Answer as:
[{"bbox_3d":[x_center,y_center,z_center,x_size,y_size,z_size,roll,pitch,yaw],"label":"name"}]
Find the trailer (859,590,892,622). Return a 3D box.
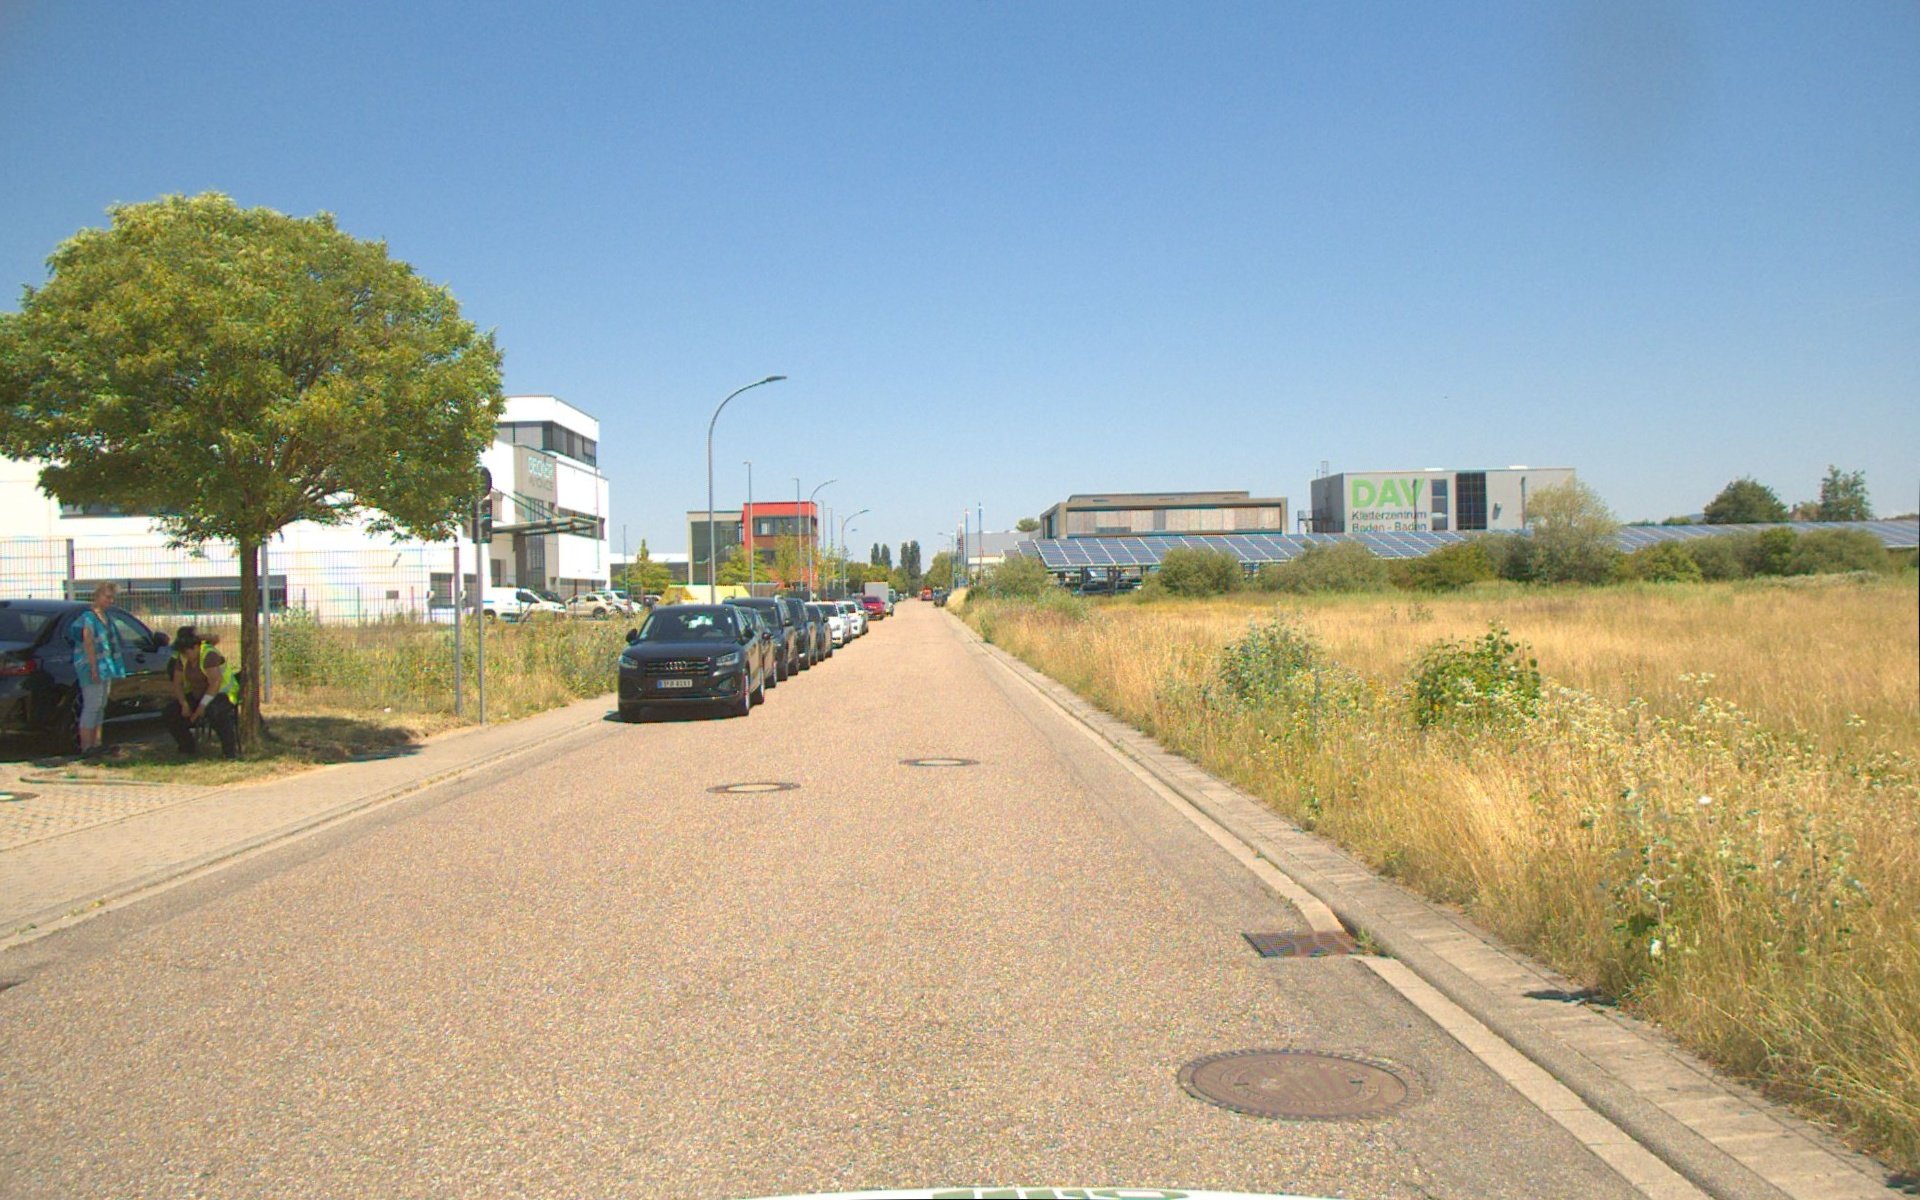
[{"bbox_3d":[-5.998,0.411,117.574,2.156,2.175,4.284,-2,0,-2],"label":"trailer"}]

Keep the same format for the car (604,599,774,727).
[{"bbox_3d":[-3.790,0.828,23.836,1.888,1.594,4.188,-2,0,-3],"label":"car"}]

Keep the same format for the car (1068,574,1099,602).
[{"bbox_3d":[9.358,-0.919,125.621,1.953,2.049,3.999,-2,0,-2],"label":"car"}]

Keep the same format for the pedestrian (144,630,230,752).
[{"bbox_3d":[-8.018,0.929,17.168,0.495,1.212,0.753,1,0,1],"label":"pedestrian"}]

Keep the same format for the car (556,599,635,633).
[{"bbox_3d":[-22.820,0.973,103.735,4.436,1.977,2.031,-2,0,-1],"label":"car"}]

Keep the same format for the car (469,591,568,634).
[{"bbox_3d":[-22.330,0.612,83.729,4.436,1.977,2.031,-2,0,-1],"label":"car"}]

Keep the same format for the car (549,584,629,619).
[{"bbox_3d":[-22.694,0.080,101.274,4.436,1.977,2.031,-2,0,-1],"label":"car"}]

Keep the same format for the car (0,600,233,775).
[{"bbox_3d":[-9.376,0.776,16.993,1.888,1.490,4.690,1,0,-3],"label":"car"}]

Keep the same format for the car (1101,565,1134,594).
[{"bbox_3d":[11.924,-1.549,125.616,1.953,2.049,3.999,-2,0,-2],"label":"car"}]

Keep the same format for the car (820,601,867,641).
[{"bbox_3d":[-4.799,0.846,68.565,1.751,1.547,3.981,-2,0,-2],"label":"car"}]

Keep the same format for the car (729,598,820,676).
[{"bbox_3d":[-4.401,0.838,39.730,1.733,1.692,4.551,-2,0,-1],"label":"car"}]

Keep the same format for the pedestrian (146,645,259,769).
[{"bbox_3d":[-7.165,1.002,15.664,0.735,1.118,0.646,1,0,2],"label":"pedestrian"}]

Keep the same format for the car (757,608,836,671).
[{"bbox_3d":[-4.443,1.042,45.581,1.733,1.511,5.013,-2,0,-1],"label":"car"}]

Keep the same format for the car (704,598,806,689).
[{"bbox_3d":[-4.196,0.844,34.442,1.643,1.692,4.235,-2,0,-1],"label":"car"}]

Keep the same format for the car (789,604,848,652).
[{"bbox_3d":[-4.850,0.939,57.120,1.751,1.547,3.981,-1,0,-2],"label":"car"}]

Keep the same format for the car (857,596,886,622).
[{"bbox_3d":[-5.659,0.569,106.149,1.751,1.547,3.981,-2,0,-2],"label":"car"}]

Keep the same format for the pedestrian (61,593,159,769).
[{"bbox_3d":[-8.071,0.750,15.727,0.495,1.623,0.753,1,0,1],"label":"pedestrian"}]

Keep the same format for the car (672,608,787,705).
[{"bbox_3d":[-4.027,0.942,29.374,1.558,1.518,3.832,-2,0,-1],"label":"car"}]
